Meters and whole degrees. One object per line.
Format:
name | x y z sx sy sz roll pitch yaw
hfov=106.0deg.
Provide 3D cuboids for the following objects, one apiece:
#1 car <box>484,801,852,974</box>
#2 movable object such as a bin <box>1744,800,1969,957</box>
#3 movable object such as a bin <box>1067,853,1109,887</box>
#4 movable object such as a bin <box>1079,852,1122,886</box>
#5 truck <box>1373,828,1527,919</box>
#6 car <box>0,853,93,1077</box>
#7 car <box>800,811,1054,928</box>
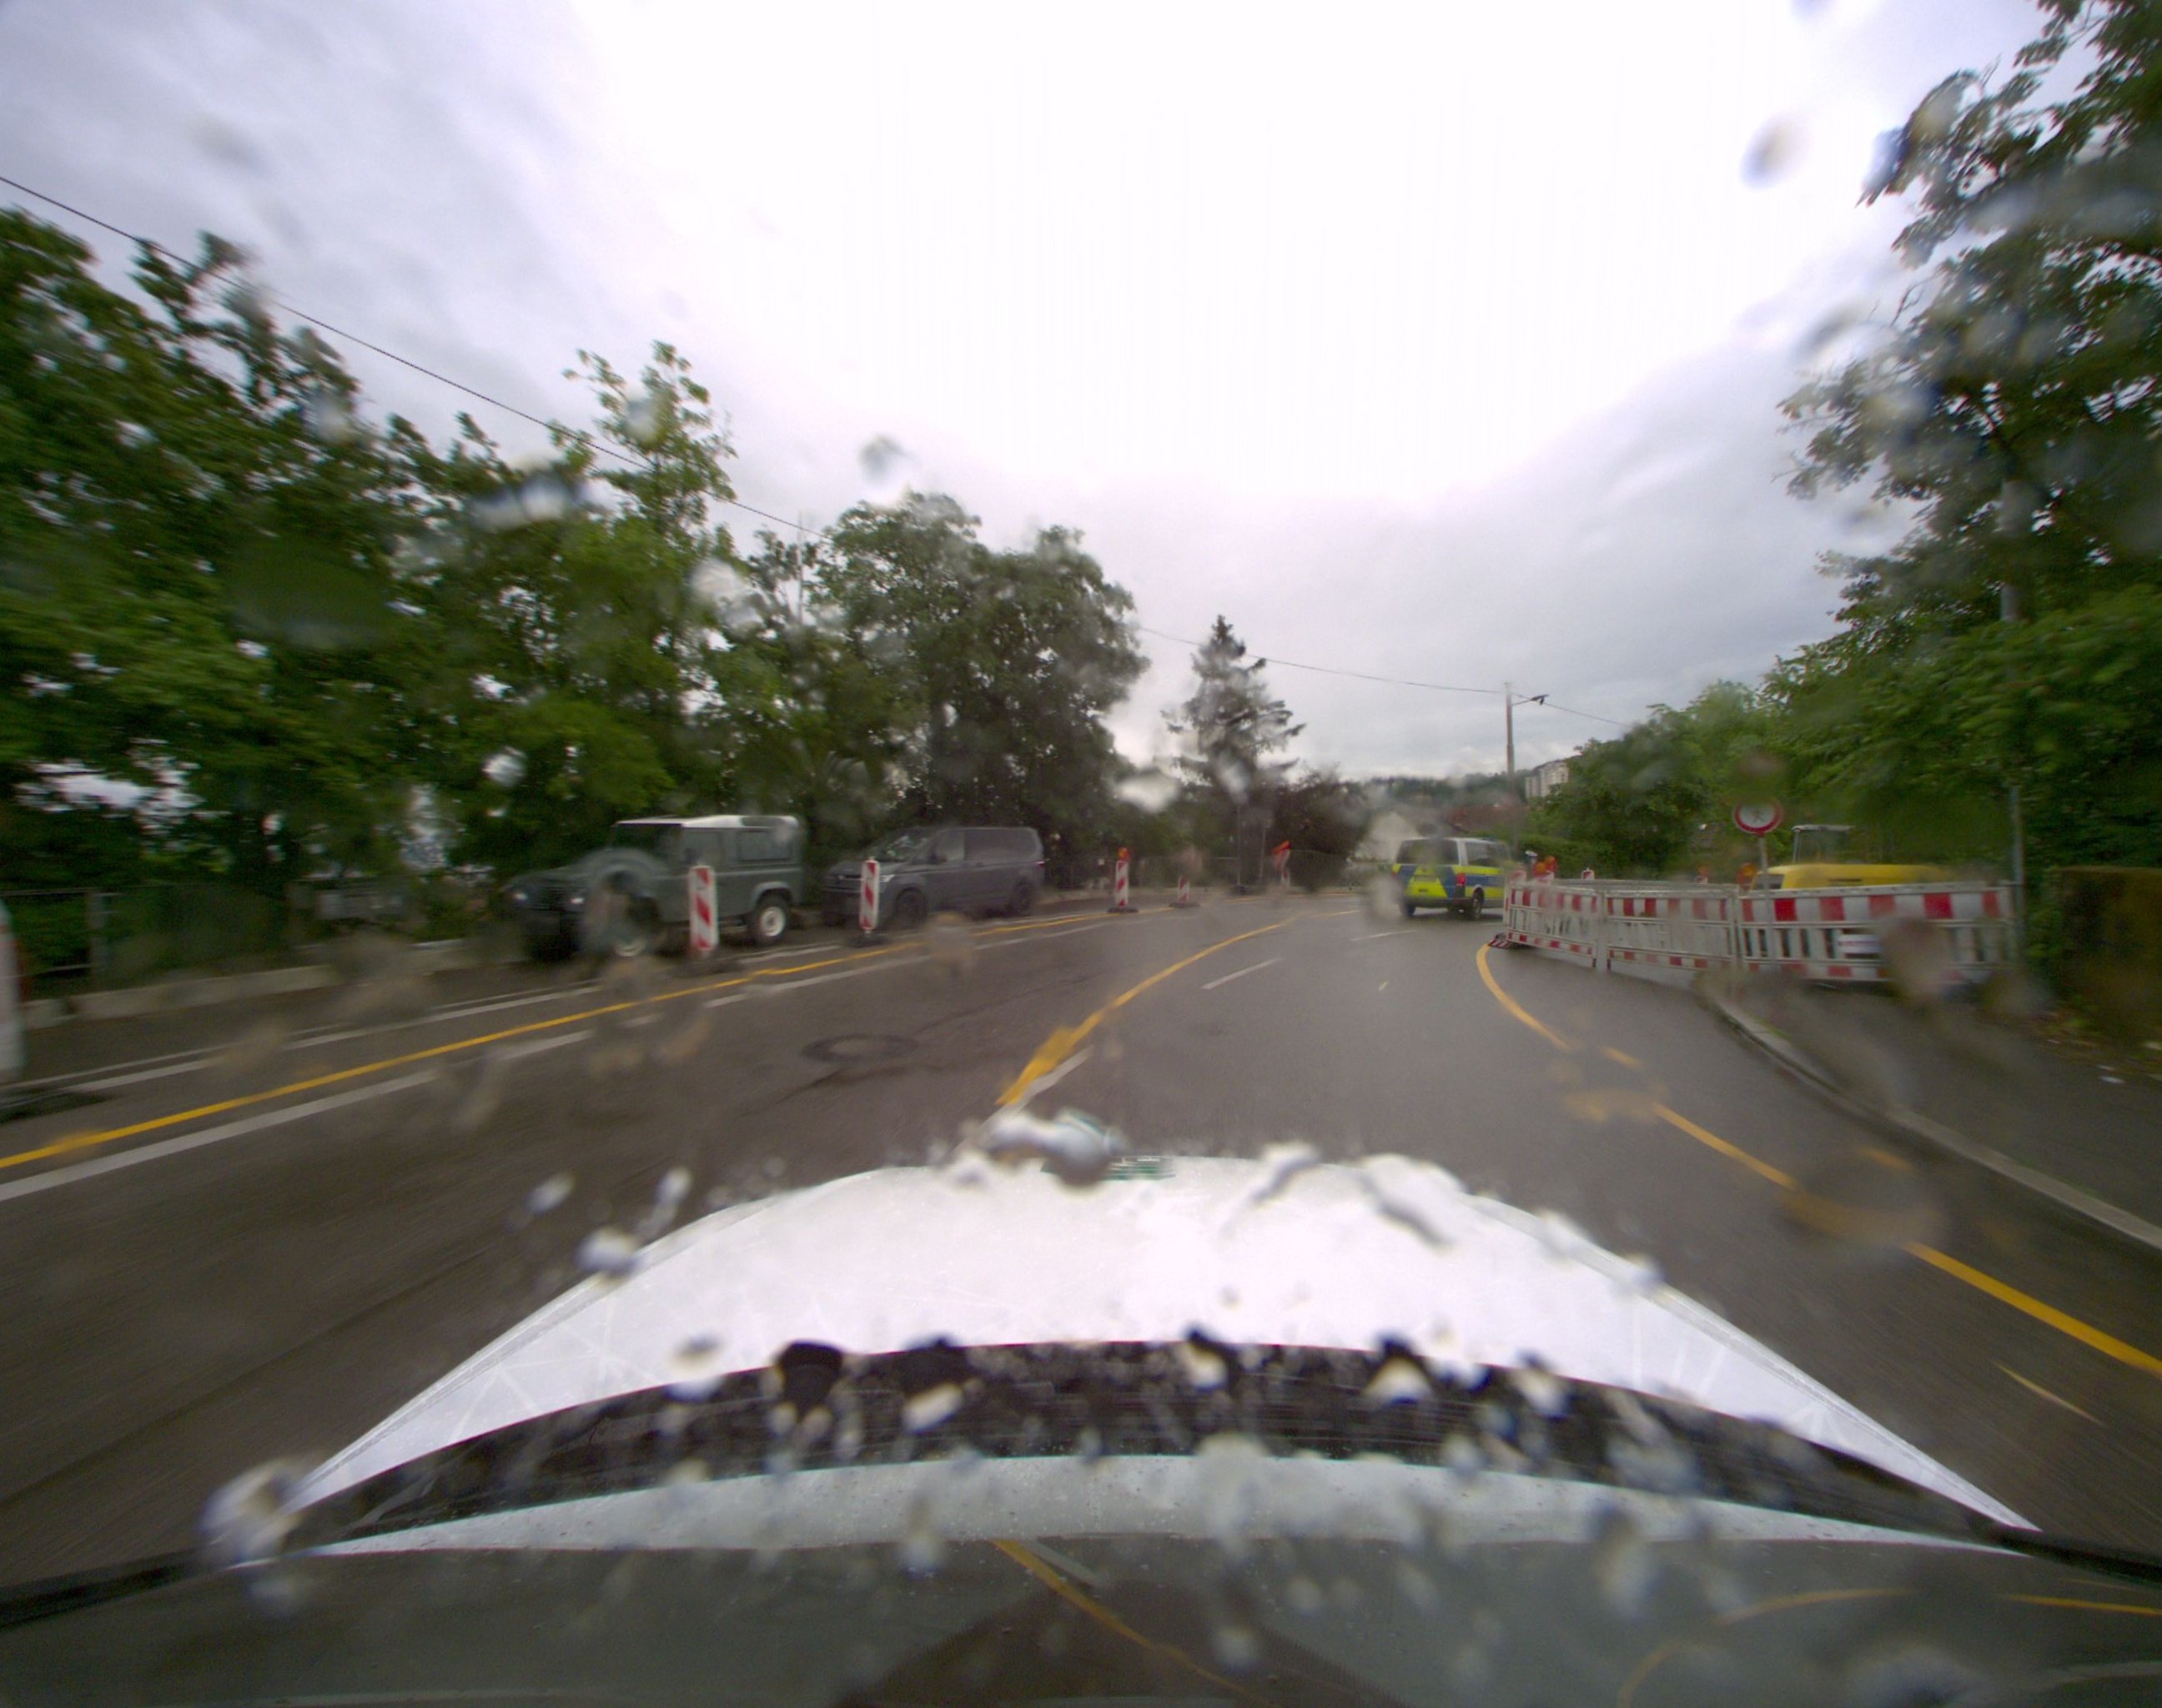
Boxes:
car | -5.681 0.336 12.068 1.849 2.013 4.839 1 1 21
movable object such as a bin | 18.671 0.427 19.587 5.291 3.226 2.066 -4 3 -24
movable object such as a bin | 0.233 0.522 27.638 1.032 1.106 0.978 -1 0 -35
movable object such as a bin | 0.638 0.481 26.648 1.031 1.106 0.978 1 -1 -35
truck | 9.357 0.411 20.432 1.975 2.013 4.763 -2 0 44
car | -8.268 0.747 3.718 1.947 1.440 4.336 0 1 11
car | -2.918 0.248 16.523 1.974 2.013 4.980 2 1 37
